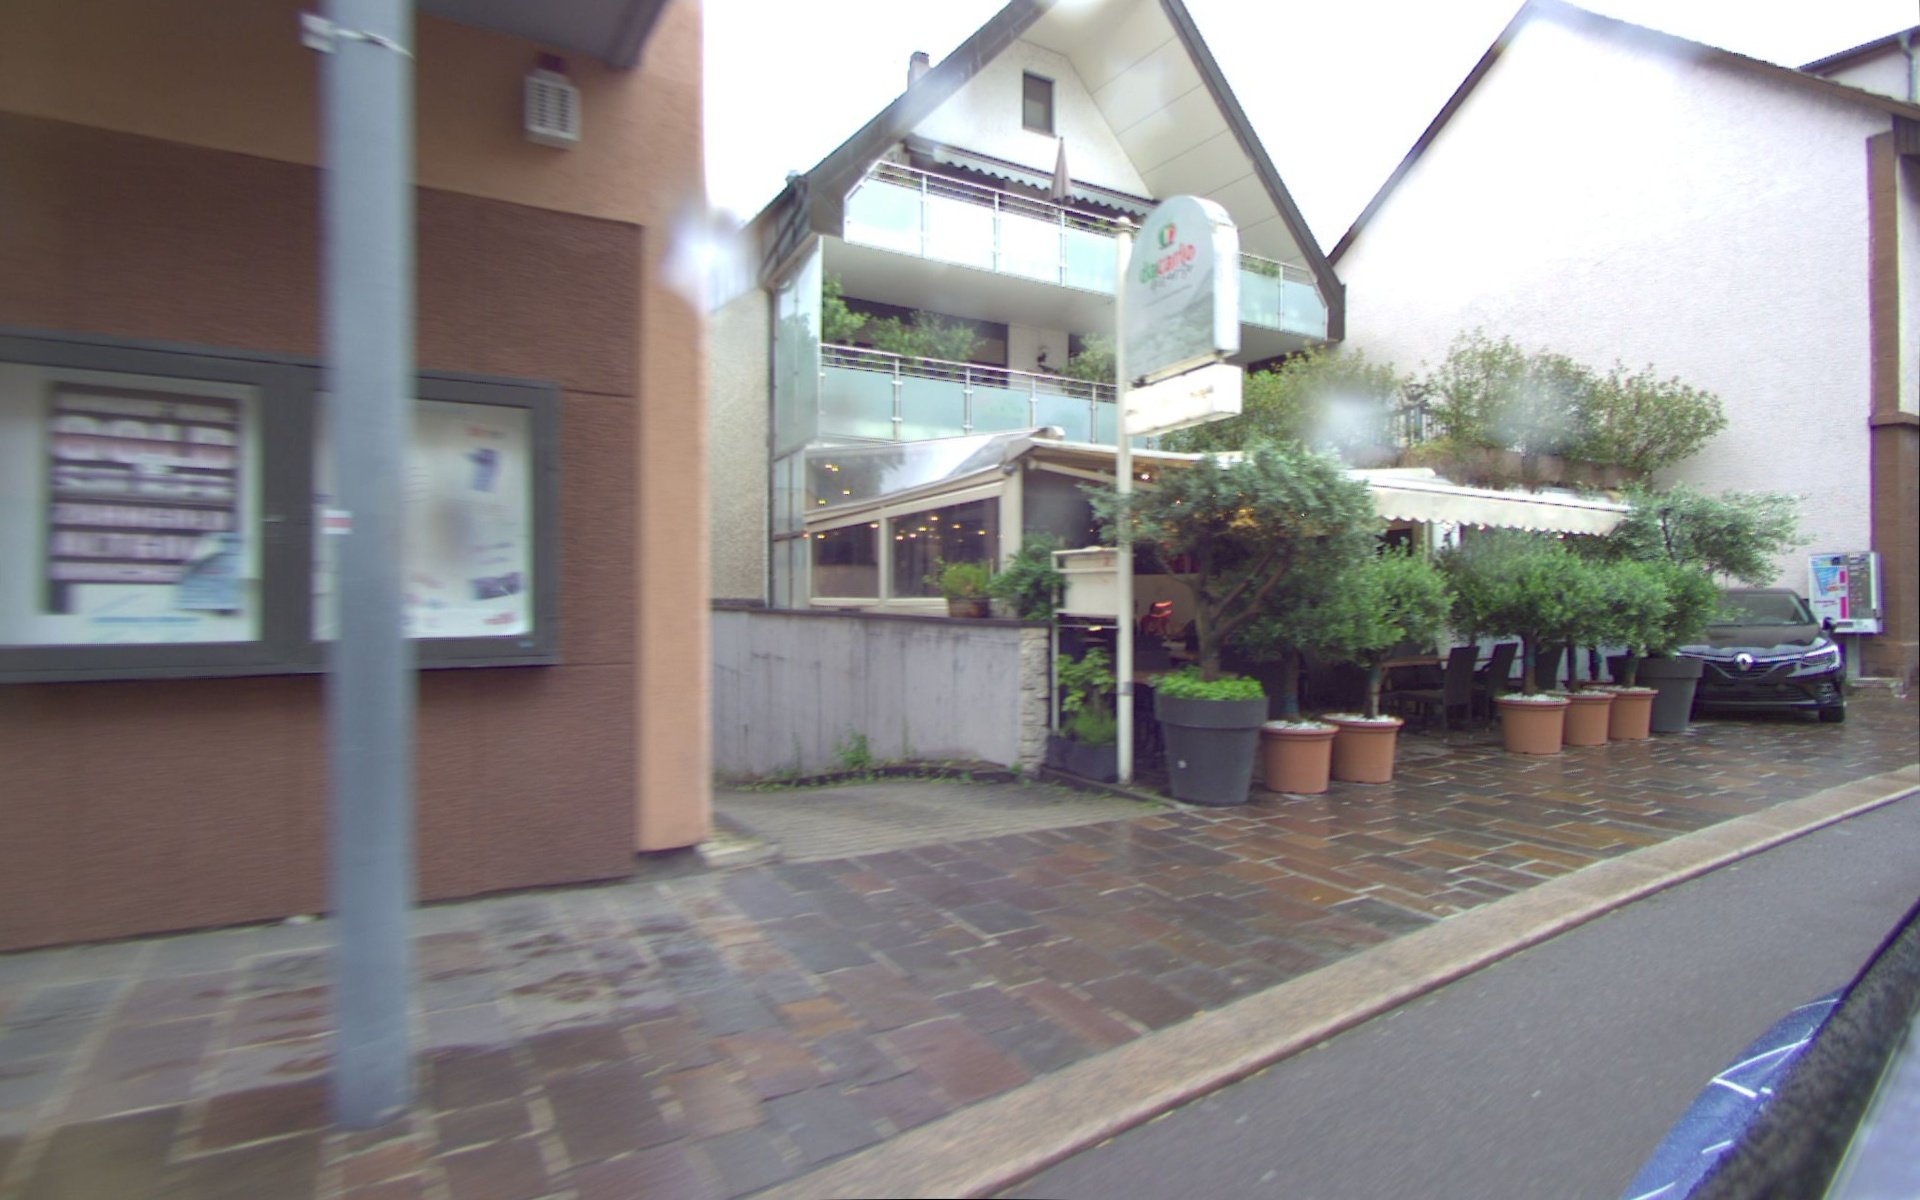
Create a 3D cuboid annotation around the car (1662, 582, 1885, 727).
[{"bbox_3d":[9.213,0.484,11.750,1.728,1.374,3.887,1,1,35],"label":"car"}]
